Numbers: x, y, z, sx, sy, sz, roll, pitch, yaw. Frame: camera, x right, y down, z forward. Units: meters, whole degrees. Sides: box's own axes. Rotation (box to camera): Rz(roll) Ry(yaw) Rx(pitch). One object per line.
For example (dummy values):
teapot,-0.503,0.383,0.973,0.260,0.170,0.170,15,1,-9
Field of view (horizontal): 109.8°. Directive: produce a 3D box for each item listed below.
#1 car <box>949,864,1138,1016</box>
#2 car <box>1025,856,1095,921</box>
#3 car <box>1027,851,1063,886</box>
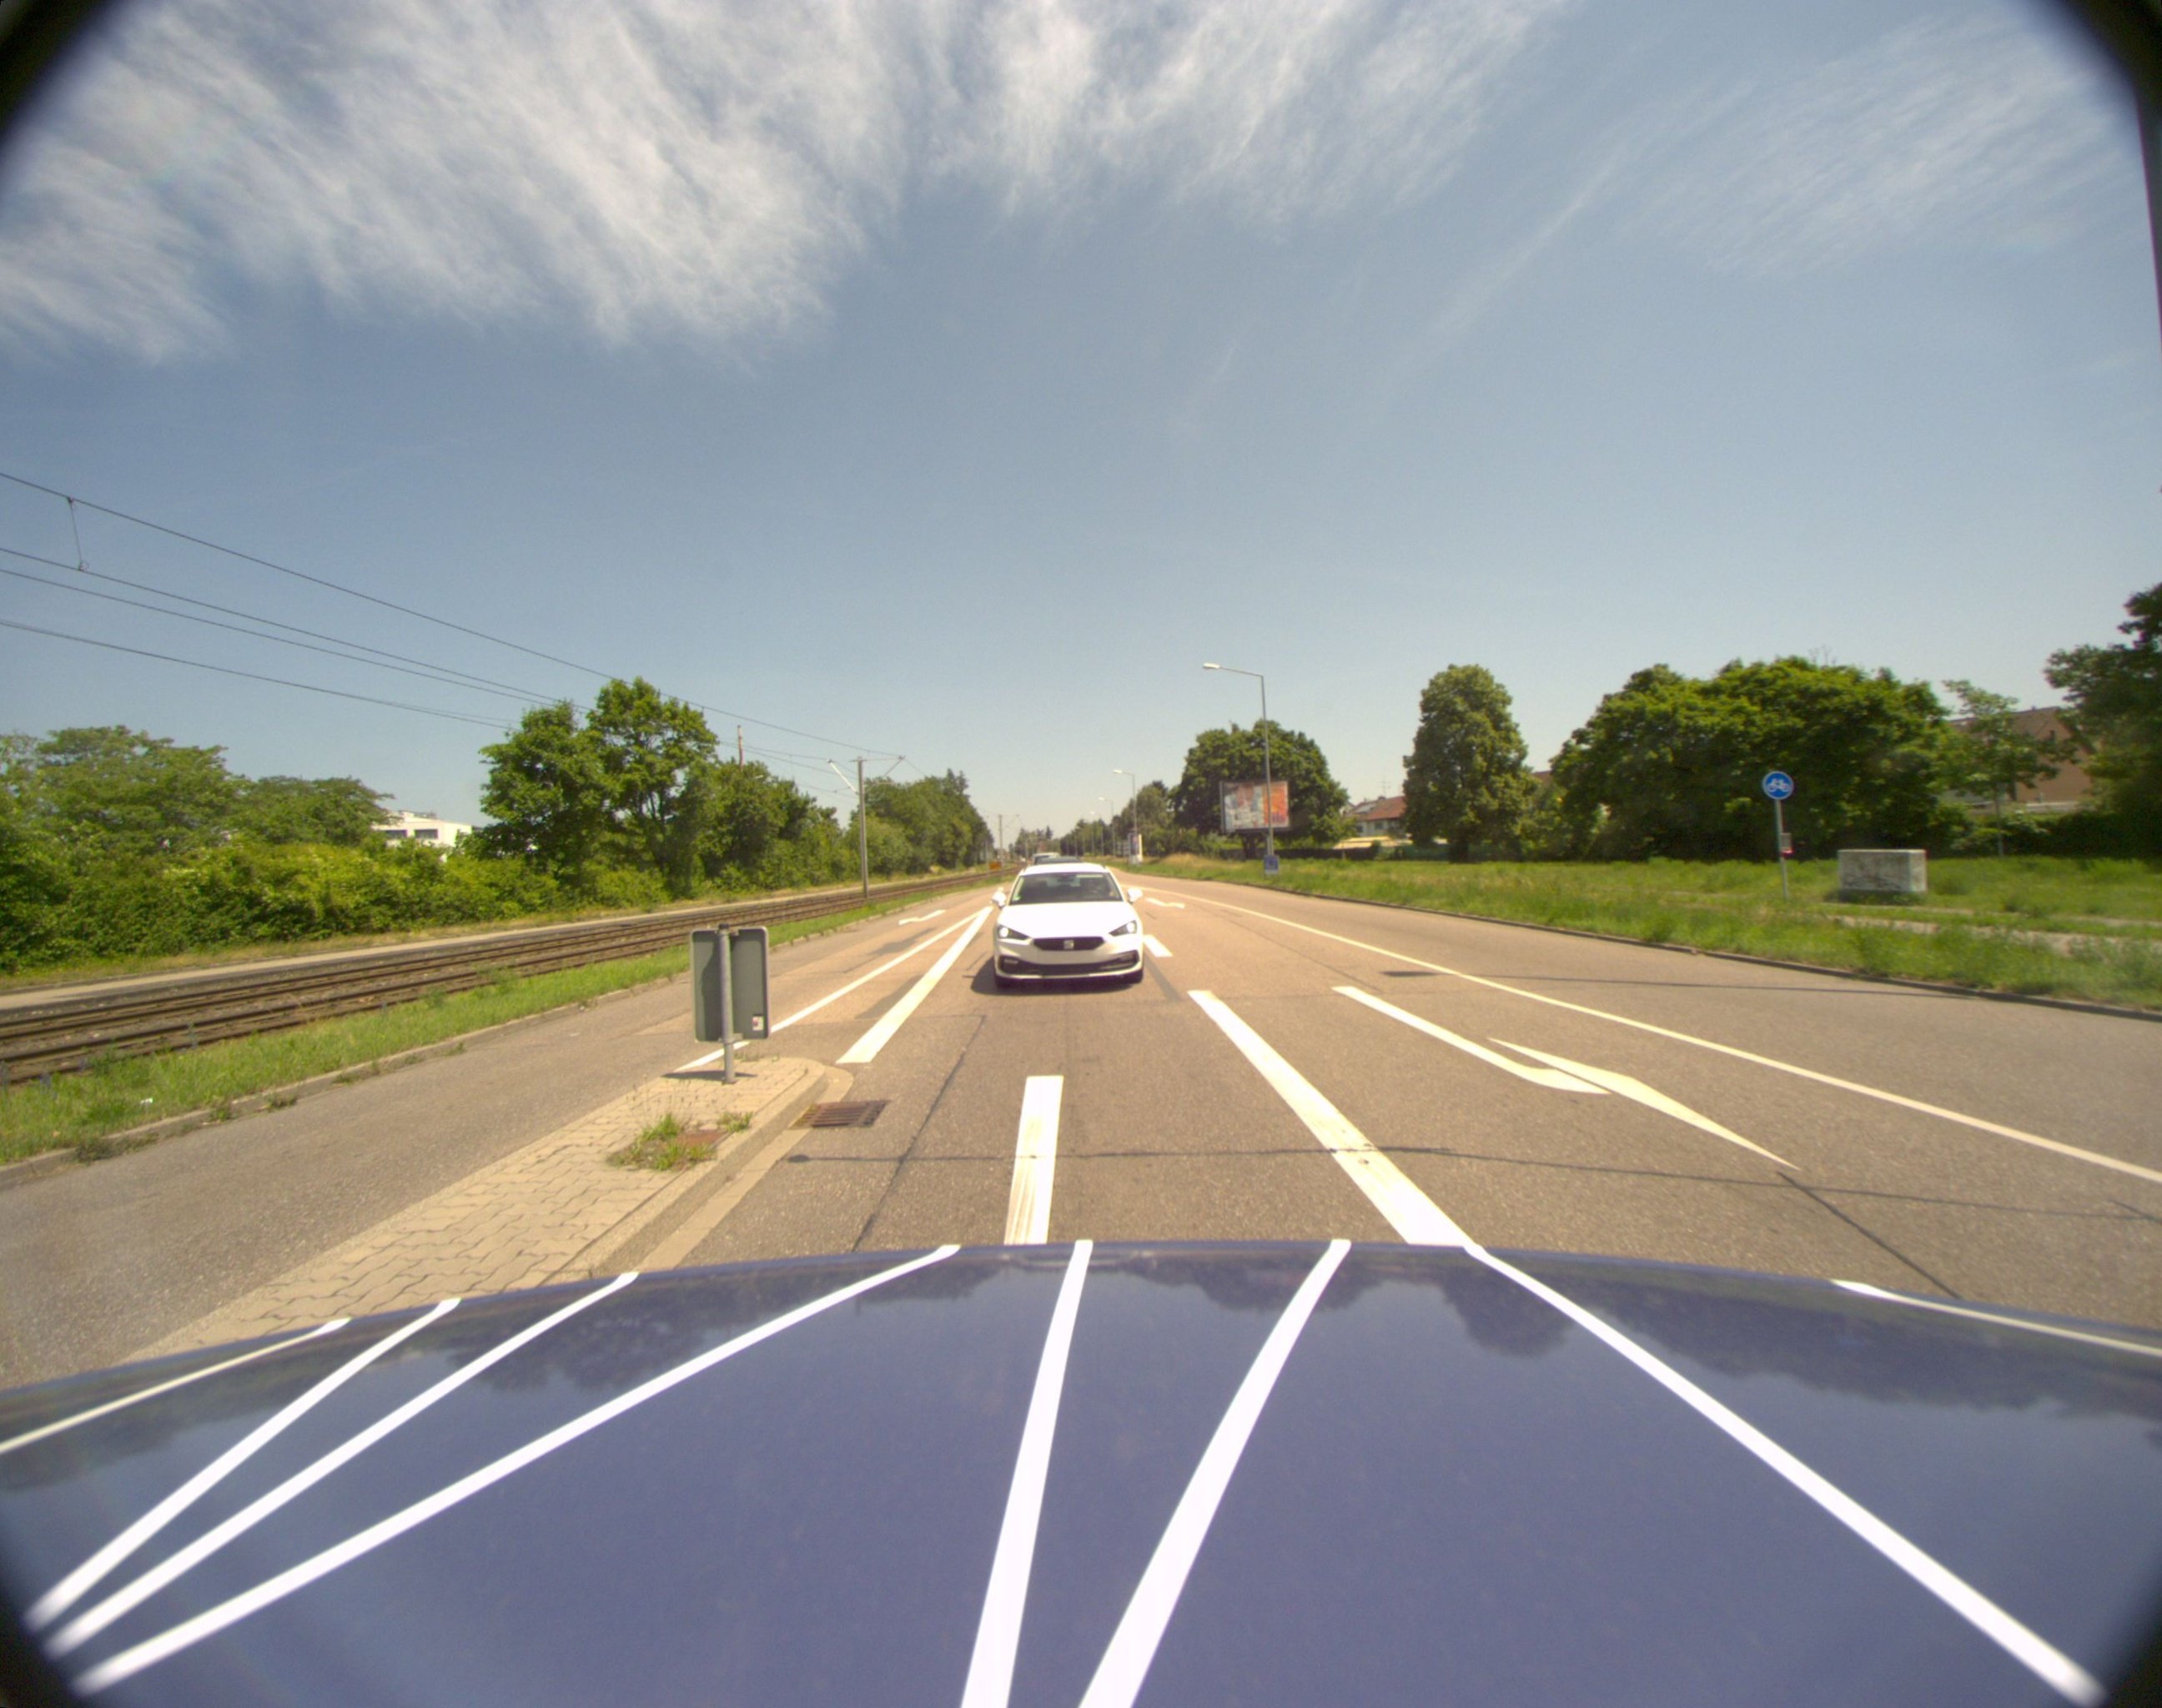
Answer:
car,-0.330,0.953,10.328,1.954,1.467,4.362,-3,0,2
car,-0.534,0.917,22.035,1.780,1.628,4.000,-2,0,1
car,-2.016,0.813,43.772,1.780,1.865,4.000,-2,0,1
